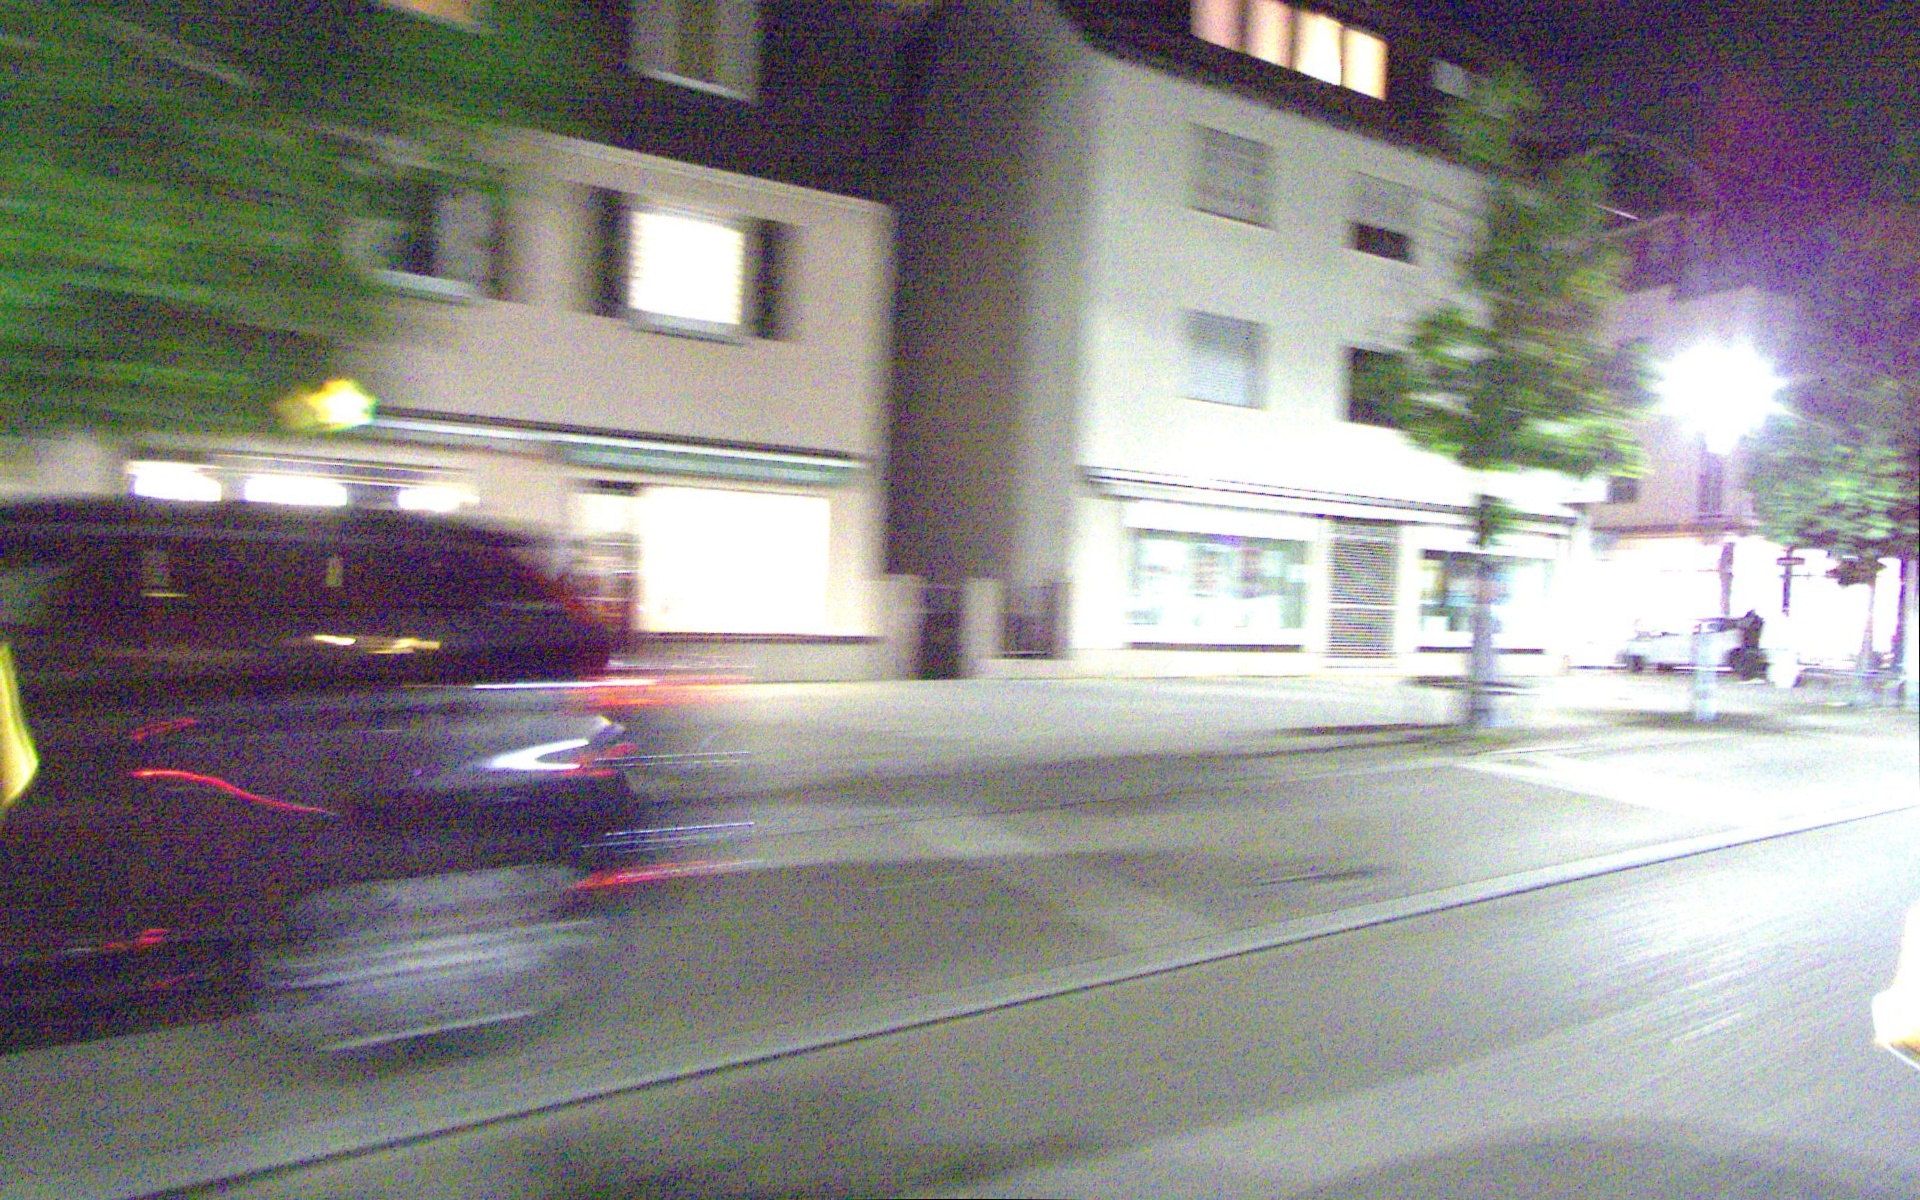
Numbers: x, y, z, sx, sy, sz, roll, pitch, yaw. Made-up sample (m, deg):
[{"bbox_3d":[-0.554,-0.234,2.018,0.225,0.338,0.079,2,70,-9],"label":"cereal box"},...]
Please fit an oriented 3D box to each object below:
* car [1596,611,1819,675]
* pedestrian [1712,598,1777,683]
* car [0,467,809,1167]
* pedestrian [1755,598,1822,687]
[{"bbox_3d":[18.672,1.094,25.315,1.816,1.457,4.155,2,-3,-25],"label":"car"},{"bbox_3d":[15.874,0.793,20.340,0.806,1.678,0.766,-1,1,-28],"label":"pedestrian"},{"bbox_3d":[-3.175,0.482,3.111,4.942,1.714,2.008,2,2,-29],"label":"car"},{"bbox_3d":[16.168,0.803,19.615,0.772,1.678,0.766,-1,1,-28],"label":"pedestrian"}]
